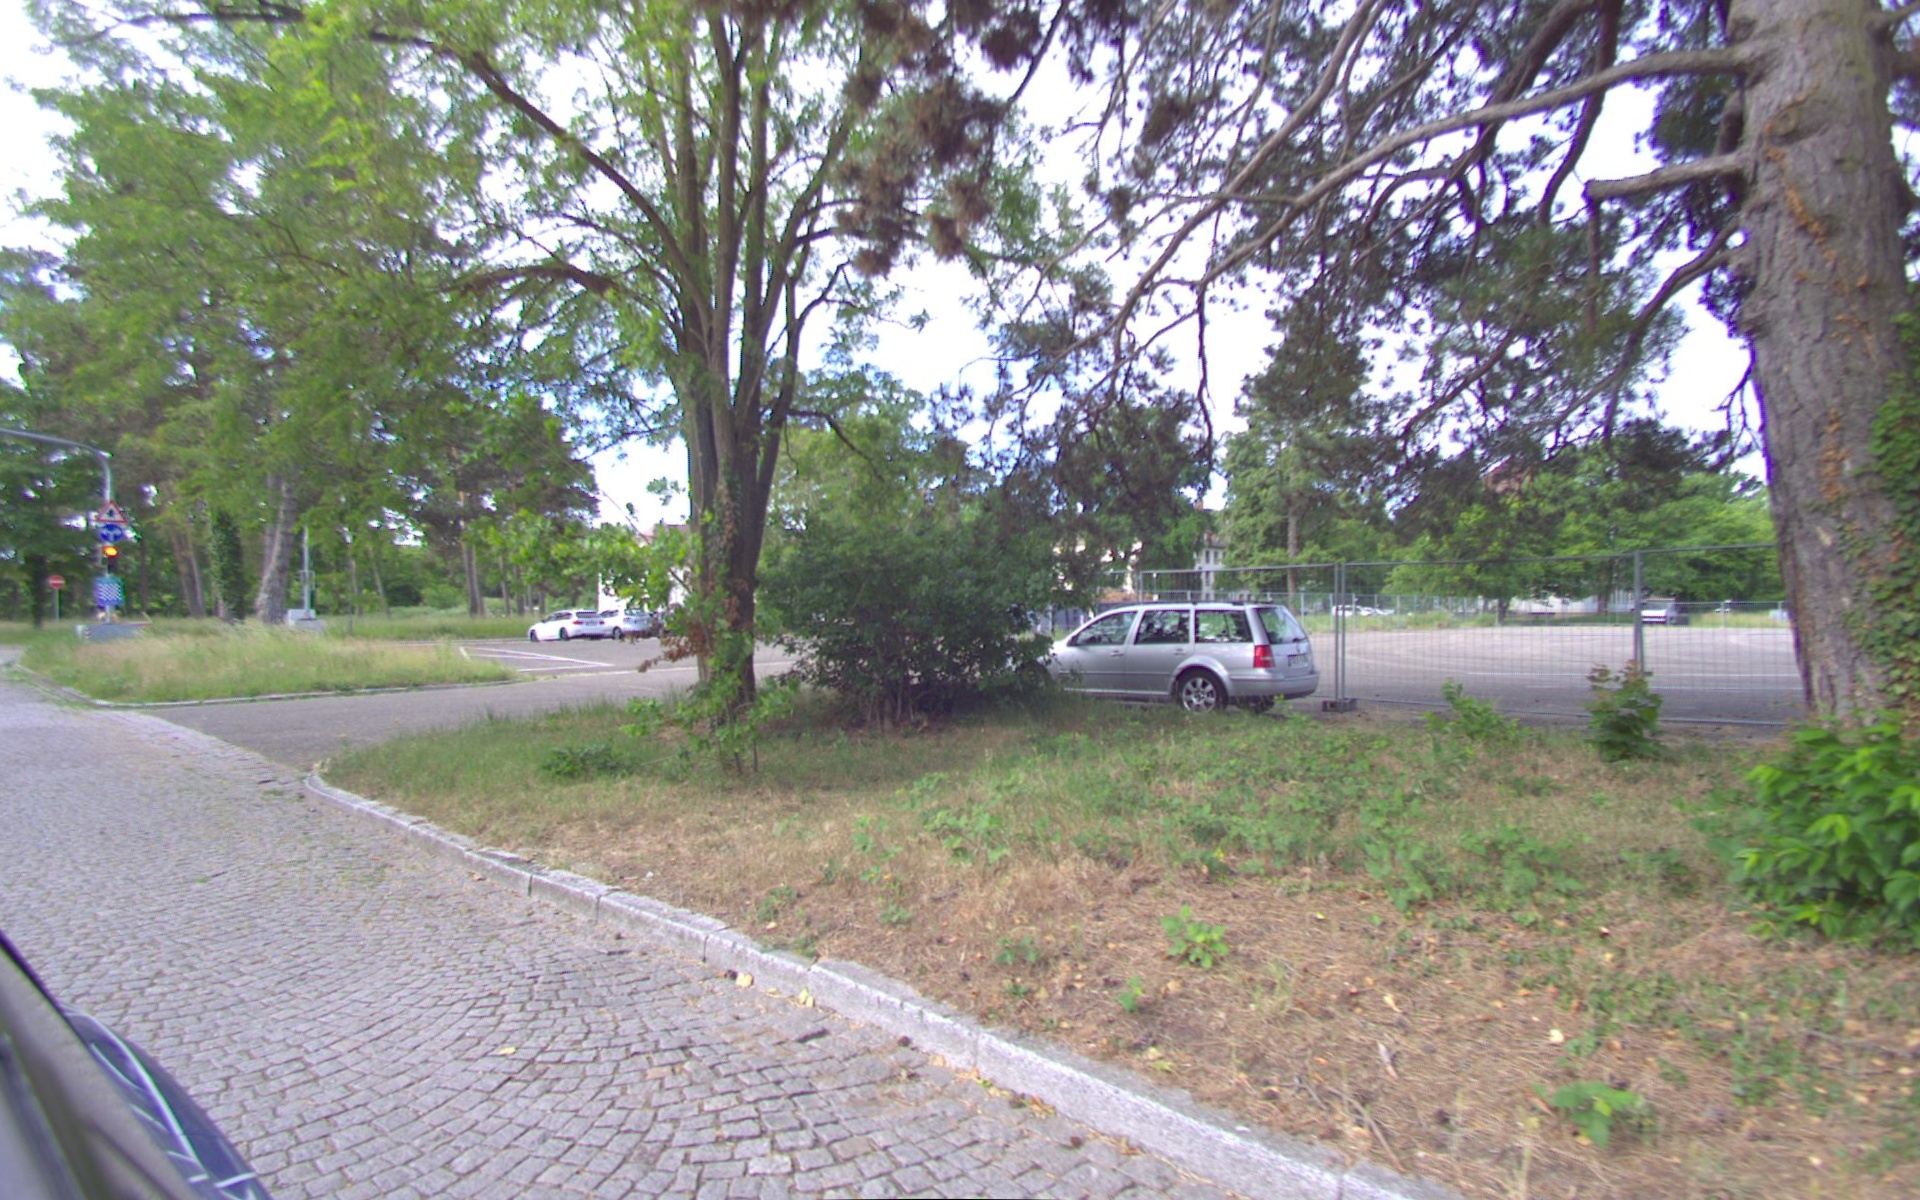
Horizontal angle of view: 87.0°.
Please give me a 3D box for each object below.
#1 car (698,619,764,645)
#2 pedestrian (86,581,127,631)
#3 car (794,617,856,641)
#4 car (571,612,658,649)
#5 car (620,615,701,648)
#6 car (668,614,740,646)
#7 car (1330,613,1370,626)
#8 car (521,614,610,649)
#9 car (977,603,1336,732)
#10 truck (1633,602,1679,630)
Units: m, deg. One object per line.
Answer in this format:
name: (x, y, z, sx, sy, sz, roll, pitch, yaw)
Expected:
car: (-15.092, 2.108, 66.632, 4.581, 1.533, 1.816, -4, -3, 40)
pedestrian: (-26.544, 0.184, 31.472, 0.869, 1.529, 0.824, 0, -1, -33)
car: (-9.797, 2.098, 73.002, 4.581, 1.586, 1.816, -4, -3, 40)
car: (-16.611, 1.470, 48.564, 4.581, 1.590, 1.816, -4, -3, 40)
car: (-15.018, 1.597, 50.650, 4.584, 1.480, 1.815, -3, -3, 43)
car: (-13.404, 1.585, 52.850, 4.113, 1.533, 1.713, -4, -3, 43)
car: (51.710, 2.563, 134.273, 4.581, 1.645, 1.816, -1, -1, 40)
car: (-18.147, 1.474, 46.479, 4.651, 1.461, 1.816, -4, -3, 40)
car: (2.479, 0.799, 13.512, 4.464, 1.449, 1.698, -1, -1, 40)
truck: (58.109, 1.328, 84.406, 2.374, 2.215, 6.464, -1, -1, 42)
